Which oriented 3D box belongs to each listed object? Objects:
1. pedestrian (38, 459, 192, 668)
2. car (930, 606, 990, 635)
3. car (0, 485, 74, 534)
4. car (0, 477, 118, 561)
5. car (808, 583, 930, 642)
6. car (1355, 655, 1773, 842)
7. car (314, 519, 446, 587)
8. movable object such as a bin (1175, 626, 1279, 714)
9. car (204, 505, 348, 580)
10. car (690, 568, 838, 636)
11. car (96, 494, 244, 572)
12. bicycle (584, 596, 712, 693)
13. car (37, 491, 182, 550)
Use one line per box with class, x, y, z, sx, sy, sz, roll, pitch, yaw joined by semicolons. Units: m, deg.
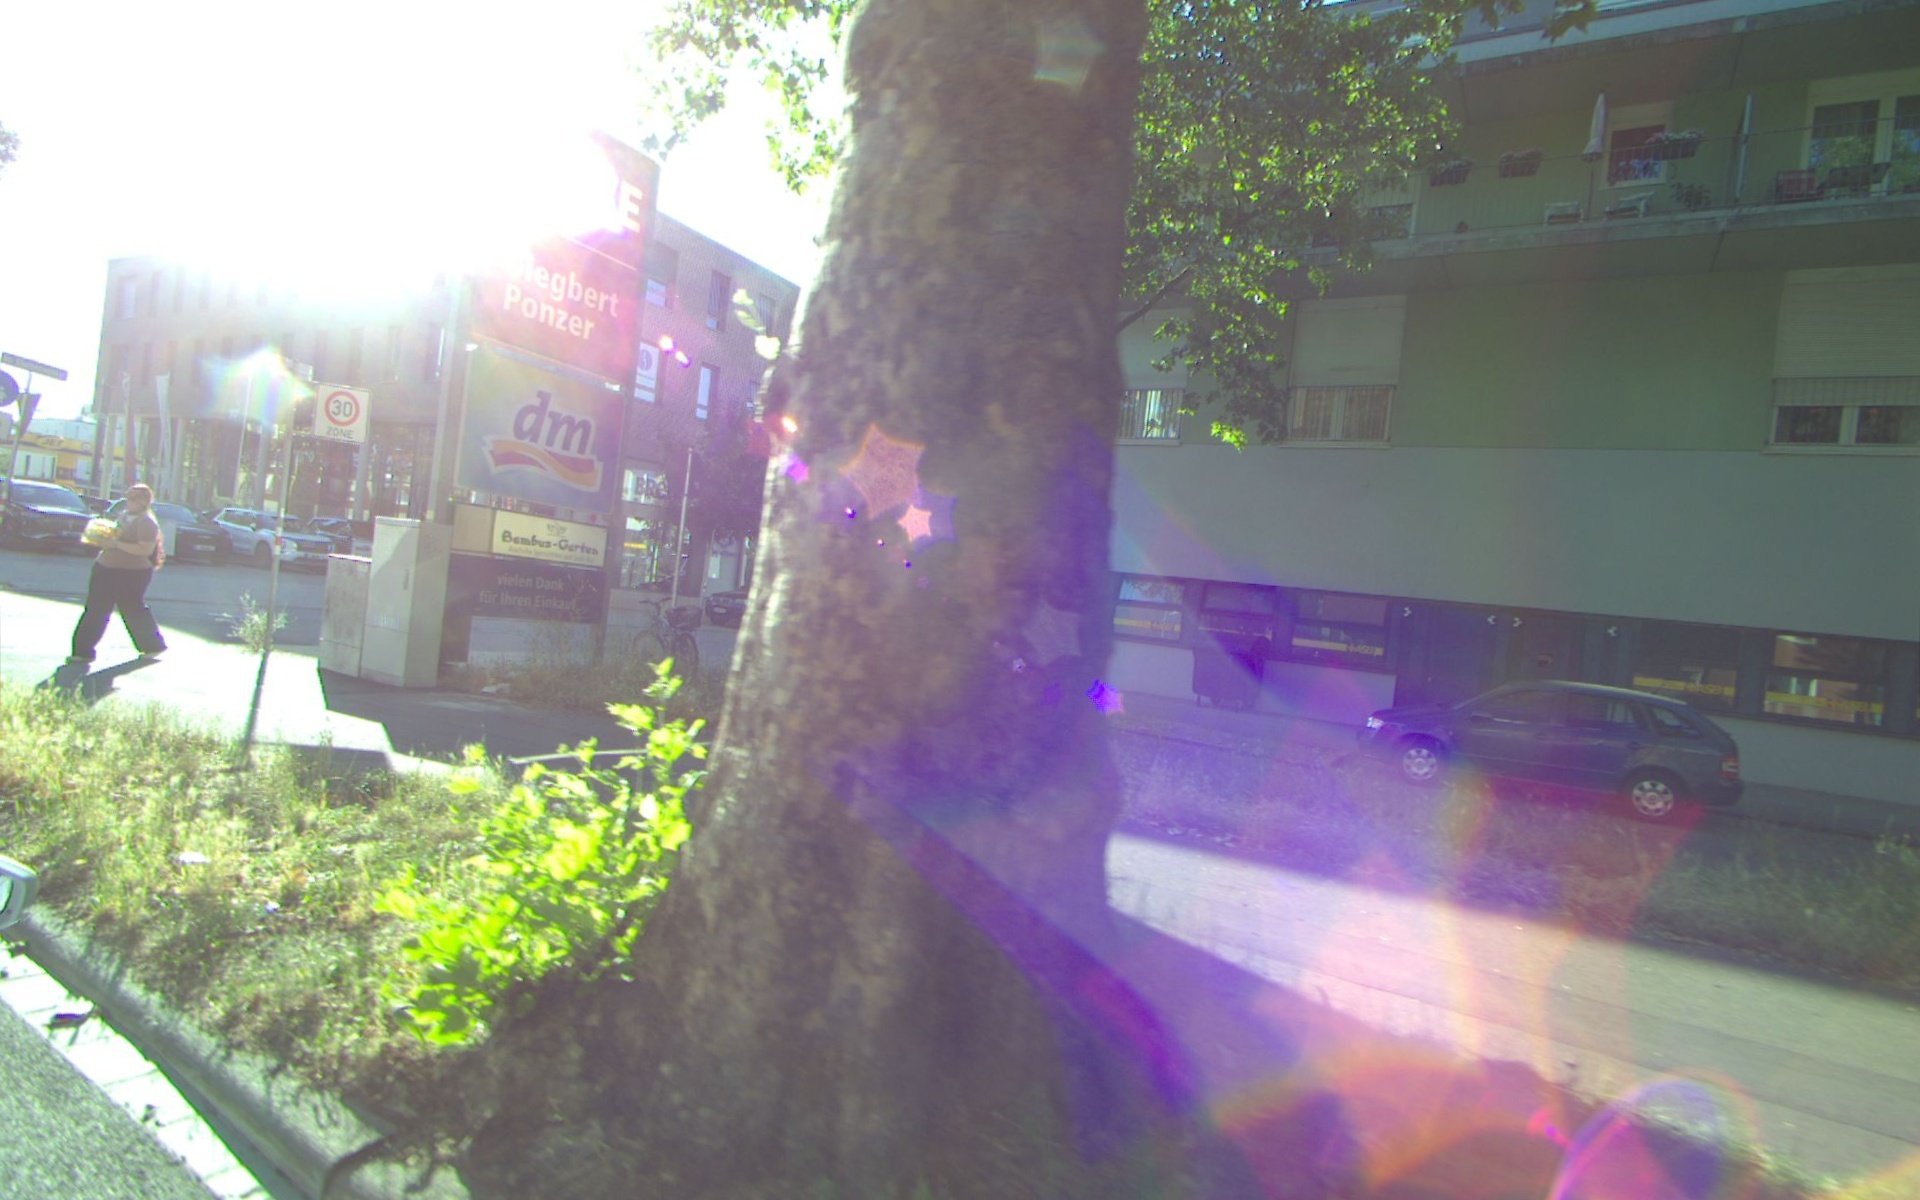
pedestrian;-7.751;-0.327;9.255;0.651;1.785;0.770;6;2;8
car;-0.018;1.462;71.086;3.947;1.641;1.860;4;-2;43
car;-33.910;-3.298;35.691;1.614;1.530;3.815;7;1;-4
car;-23.759;-2.140;25.772;4.293;1.753;1.829;7;0;29
car;-3.174;0.489;36.056;1.996;1.683;4.488;7;1;30
car;7.311;1.707;12.586;4.054;1.487;1.862;7;0;30
car;-19.281;-1.577;33.414;4.111;1.755;1.988;7;0;32
movable object such as a bin;5.099;1.332;19.196;1.388;1.481;1.190;7;0;43
car;-20.798;-1.747;30.567;4.109;1.755;1.879;7;0;29
car;-6.009;0.108;31.441;1.995;1.683;4.489;7;1;29
car;-22.241;-1.889;28.304;4.109;1.705;1.730;7;0;29
bicycle;-3.880;0.545;12.515;1.458;1.016;0.384;7;1;15
car;-28.157;-2.574;33.470;1.614;1.530;3.815;7;1;-4
